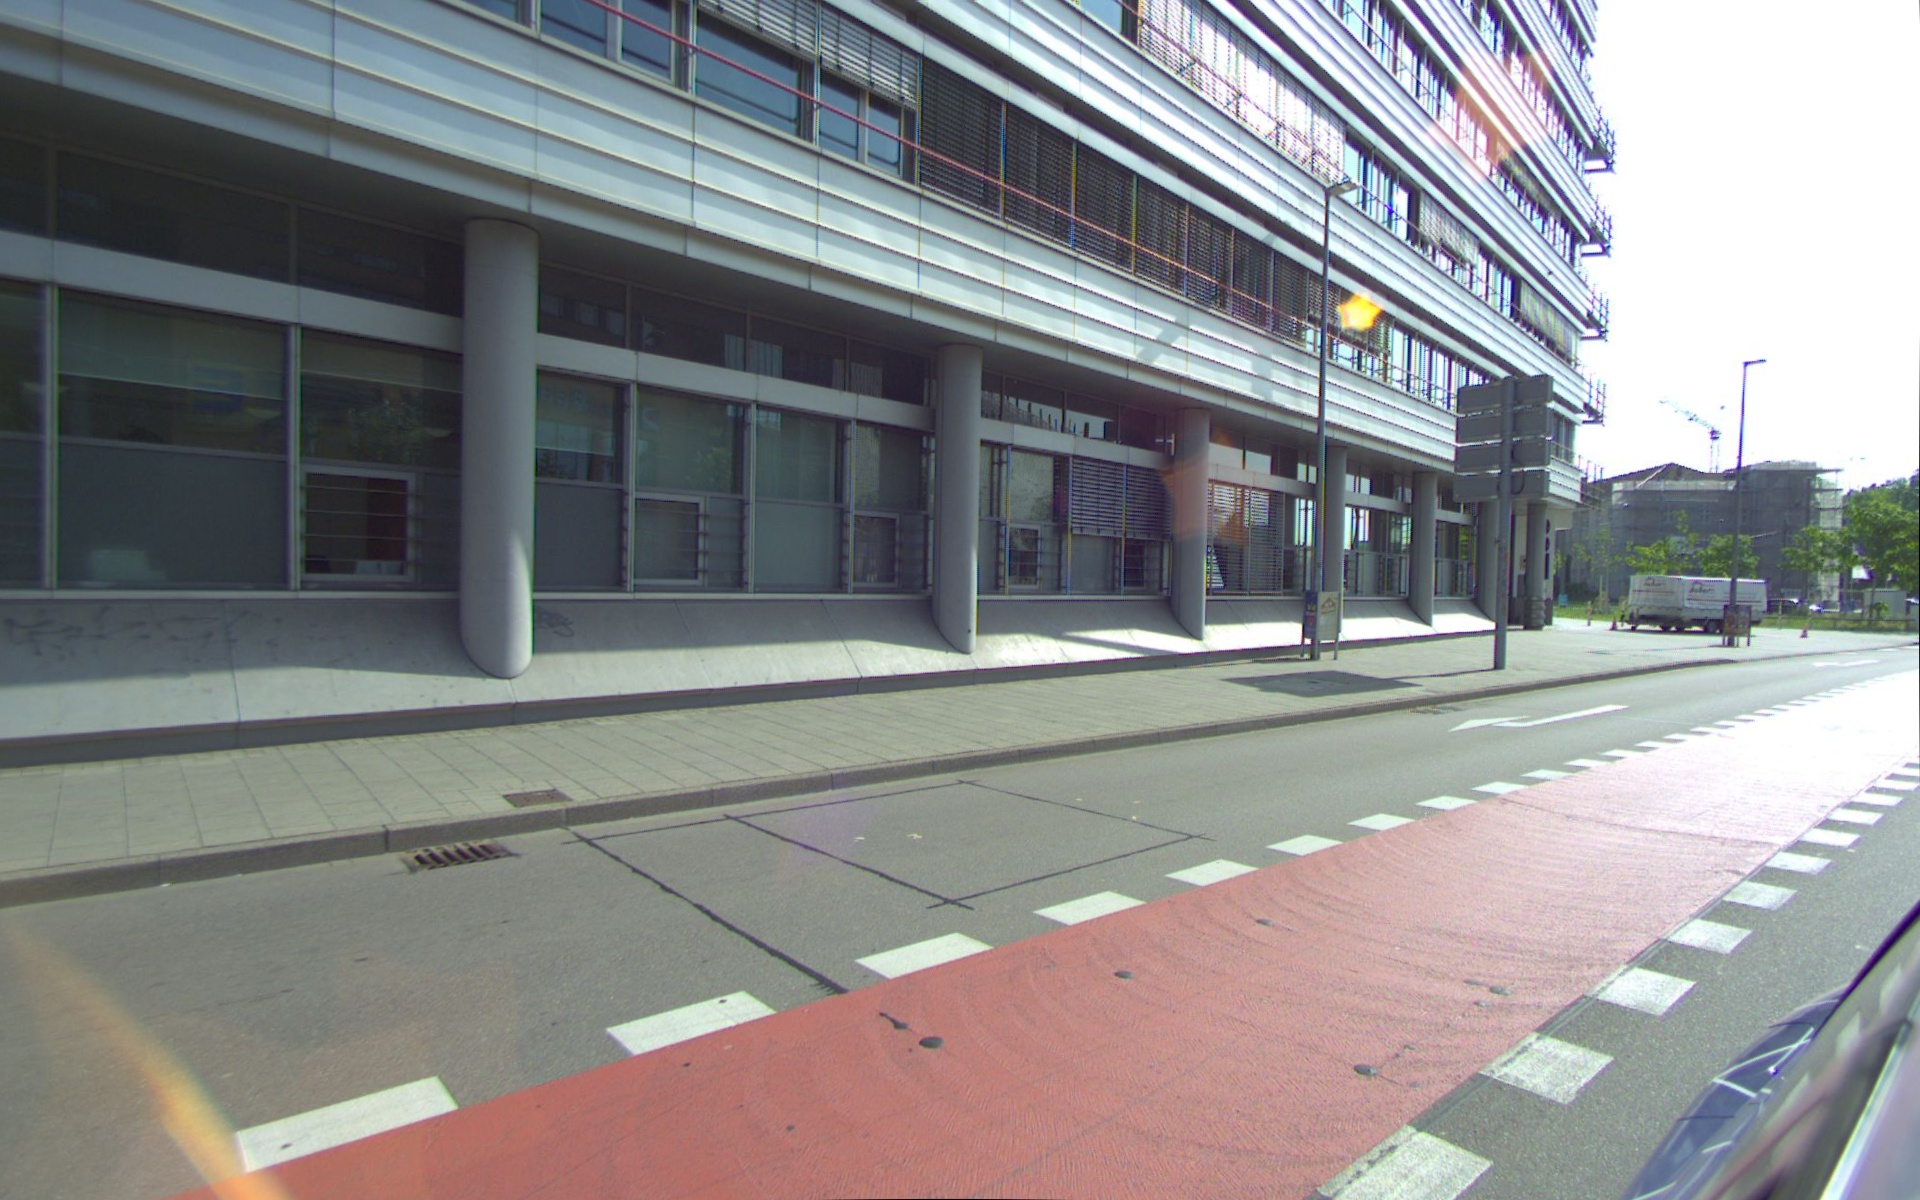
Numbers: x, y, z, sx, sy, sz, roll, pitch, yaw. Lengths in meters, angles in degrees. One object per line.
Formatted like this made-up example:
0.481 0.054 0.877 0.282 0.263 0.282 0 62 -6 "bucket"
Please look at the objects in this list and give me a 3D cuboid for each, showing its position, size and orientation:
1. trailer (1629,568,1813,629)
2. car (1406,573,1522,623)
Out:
29.171 -0.060 38.861 5.824 2.178 2.402 1 1 -13 "trailer"
17.691 -0.060 35.502 3.920 1.609 1.752 2 1 -30 "car"
